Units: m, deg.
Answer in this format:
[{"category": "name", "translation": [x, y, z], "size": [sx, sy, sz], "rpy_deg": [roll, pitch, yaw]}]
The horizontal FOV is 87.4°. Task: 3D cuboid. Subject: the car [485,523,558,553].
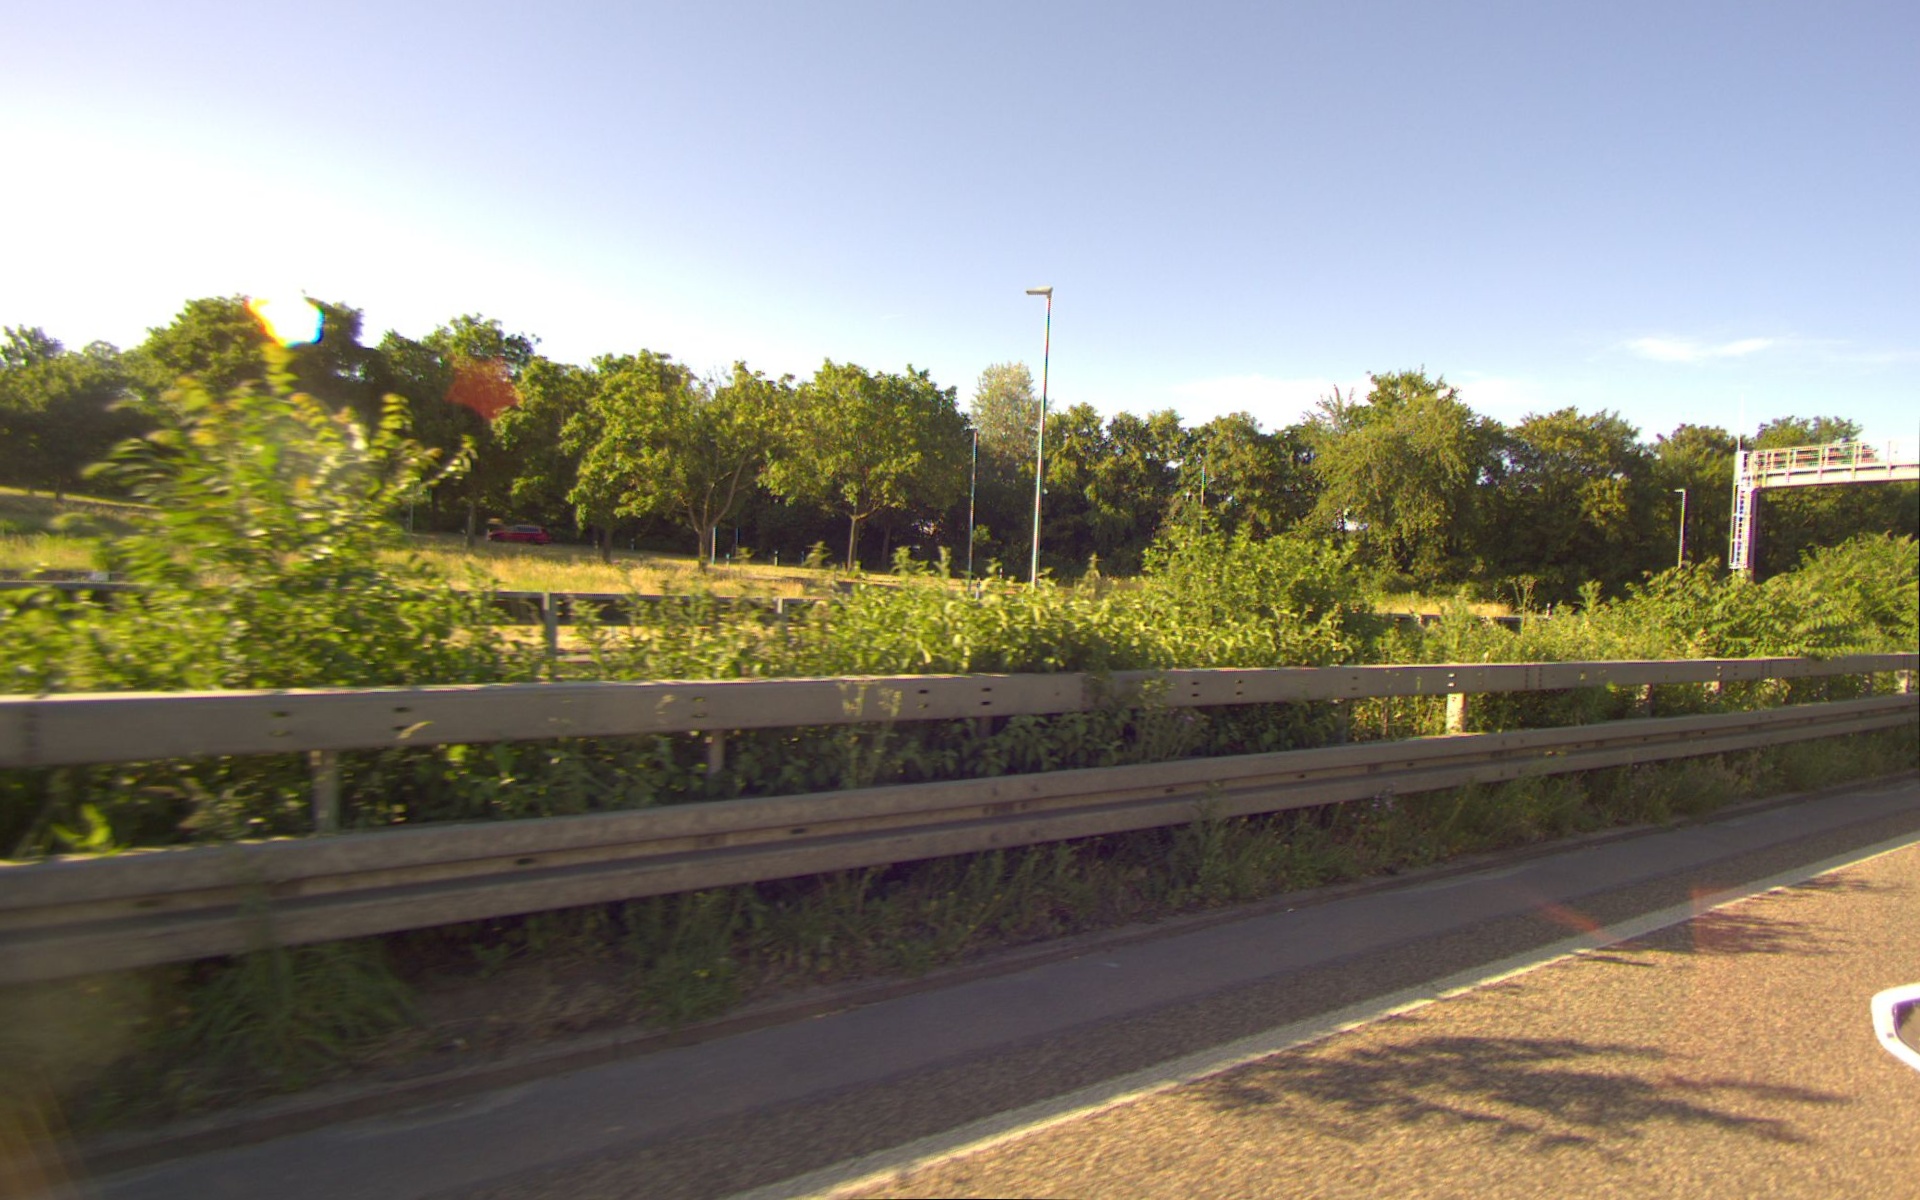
[{"category": "car", "translation": [-34.066, -4.787, 78.193], "size": [4.851, 2.040, 1.996], "rpy_deg": [2, 1, -11]}]
